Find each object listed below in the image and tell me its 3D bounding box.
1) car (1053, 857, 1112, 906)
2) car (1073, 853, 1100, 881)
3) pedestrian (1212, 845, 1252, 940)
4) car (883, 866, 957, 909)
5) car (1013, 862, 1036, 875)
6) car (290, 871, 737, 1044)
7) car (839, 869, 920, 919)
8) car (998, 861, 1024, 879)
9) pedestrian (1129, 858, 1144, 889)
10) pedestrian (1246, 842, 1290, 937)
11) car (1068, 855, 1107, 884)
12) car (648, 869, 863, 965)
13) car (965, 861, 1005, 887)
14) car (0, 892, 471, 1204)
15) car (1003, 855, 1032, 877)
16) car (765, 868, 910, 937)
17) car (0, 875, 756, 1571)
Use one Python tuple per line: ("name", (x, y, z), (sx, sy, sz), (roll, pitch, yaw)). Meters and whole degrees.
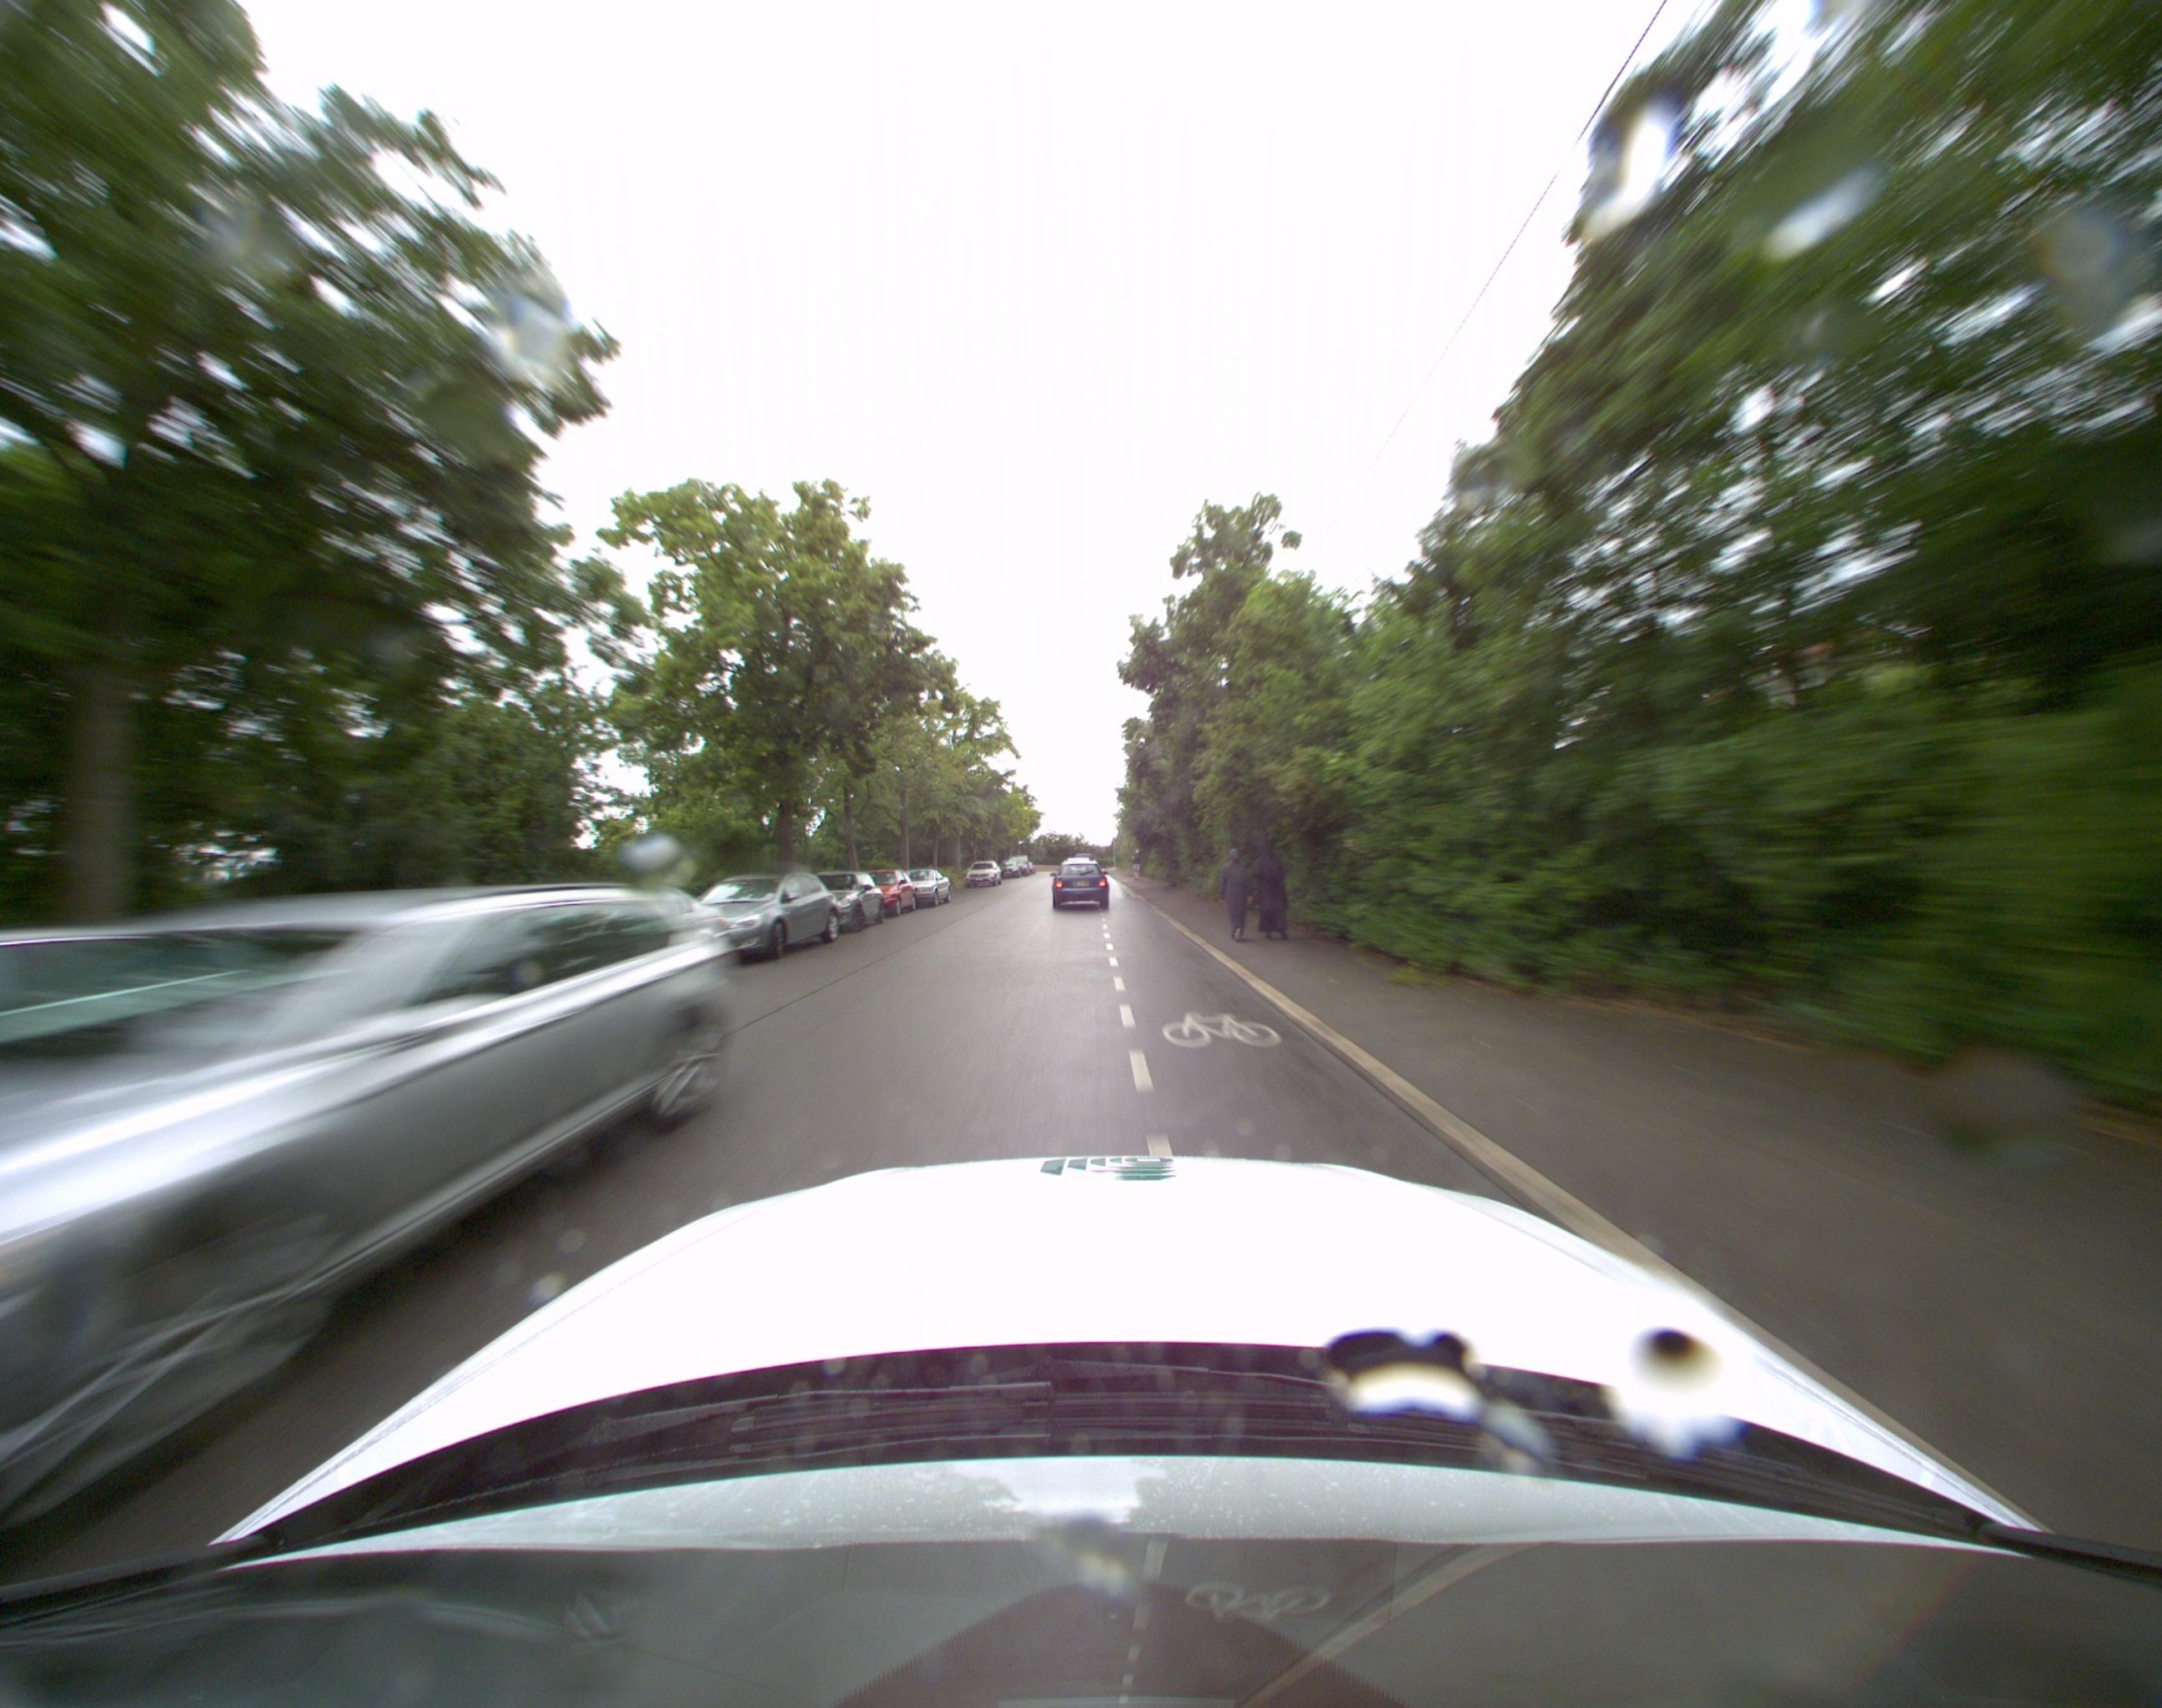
("car", (0.023, 0.817, 26.046), (1.742, 1.407, 3.998), (0, 0, -1))
("car", (0.406, 1.030, 62.562), (1.784, 1.953, 3.996), (-5, -2, -2))
("pedestrian", (2.576, 0.642, 13.930), (0.549, 1.566, 0.487), (-3, -1, 5))
("car", (-5.825, 1.175, 29.951), (1.749, 1.402, 4.418), (-3, -1, 0))
("car", (-5.946, 1.518, 86.160), (1.782, 1.297, 4.328), (-3, -1, 2))
("car", (-6.513, 1.059, 10.247), (1.985, 1.405, 4.719), (-4, 0, 4))
("car", (-6.142, 1.180, 25.287), (1.591, 1.362, 3.997), (-3, -1, -2))
("car", (-5.925, 1.348, 69.145), (1.792, 1.437, 4.254), (-3, -1, -1))
("pedestrian", (3.337, 1.169, 48.895), (0.714, 1.835, 1.022), (-4, -1, 2))
("pedestrian", (3.205, 0.594, 13.977), (0.592, 1.566, 0.670), (-2, -1, 4))
("car", (0.368, 0.825, 42.926), (1.884, 1.389, 4.001), (-2, -1, 1))
("car", (-5.970, 1.073, 15.686), (1.986, 1.405, 4.717), (-4, -1, 3))
("car", (-5.767, 1.165, 49.368), (1.682, 1.437, 4.258), (-3, -1, 2))
("car", (-6.111, 1.061, 3.989), (1.986, 1.309, 5.357), (-4, 0, 2))
("car", (-5.825, 1.091, 75.122), (2.076, 1.819, 5.381), (-3, -1, 1))
("car", (-5.998, 1.138, 20.736), (1.986, 1.405, 4.717), (-4, -1, 3))
("car", (-3.234, 0.861, 3.590), (1.877, 1.402, 4.254), (-3, -1, -1))
